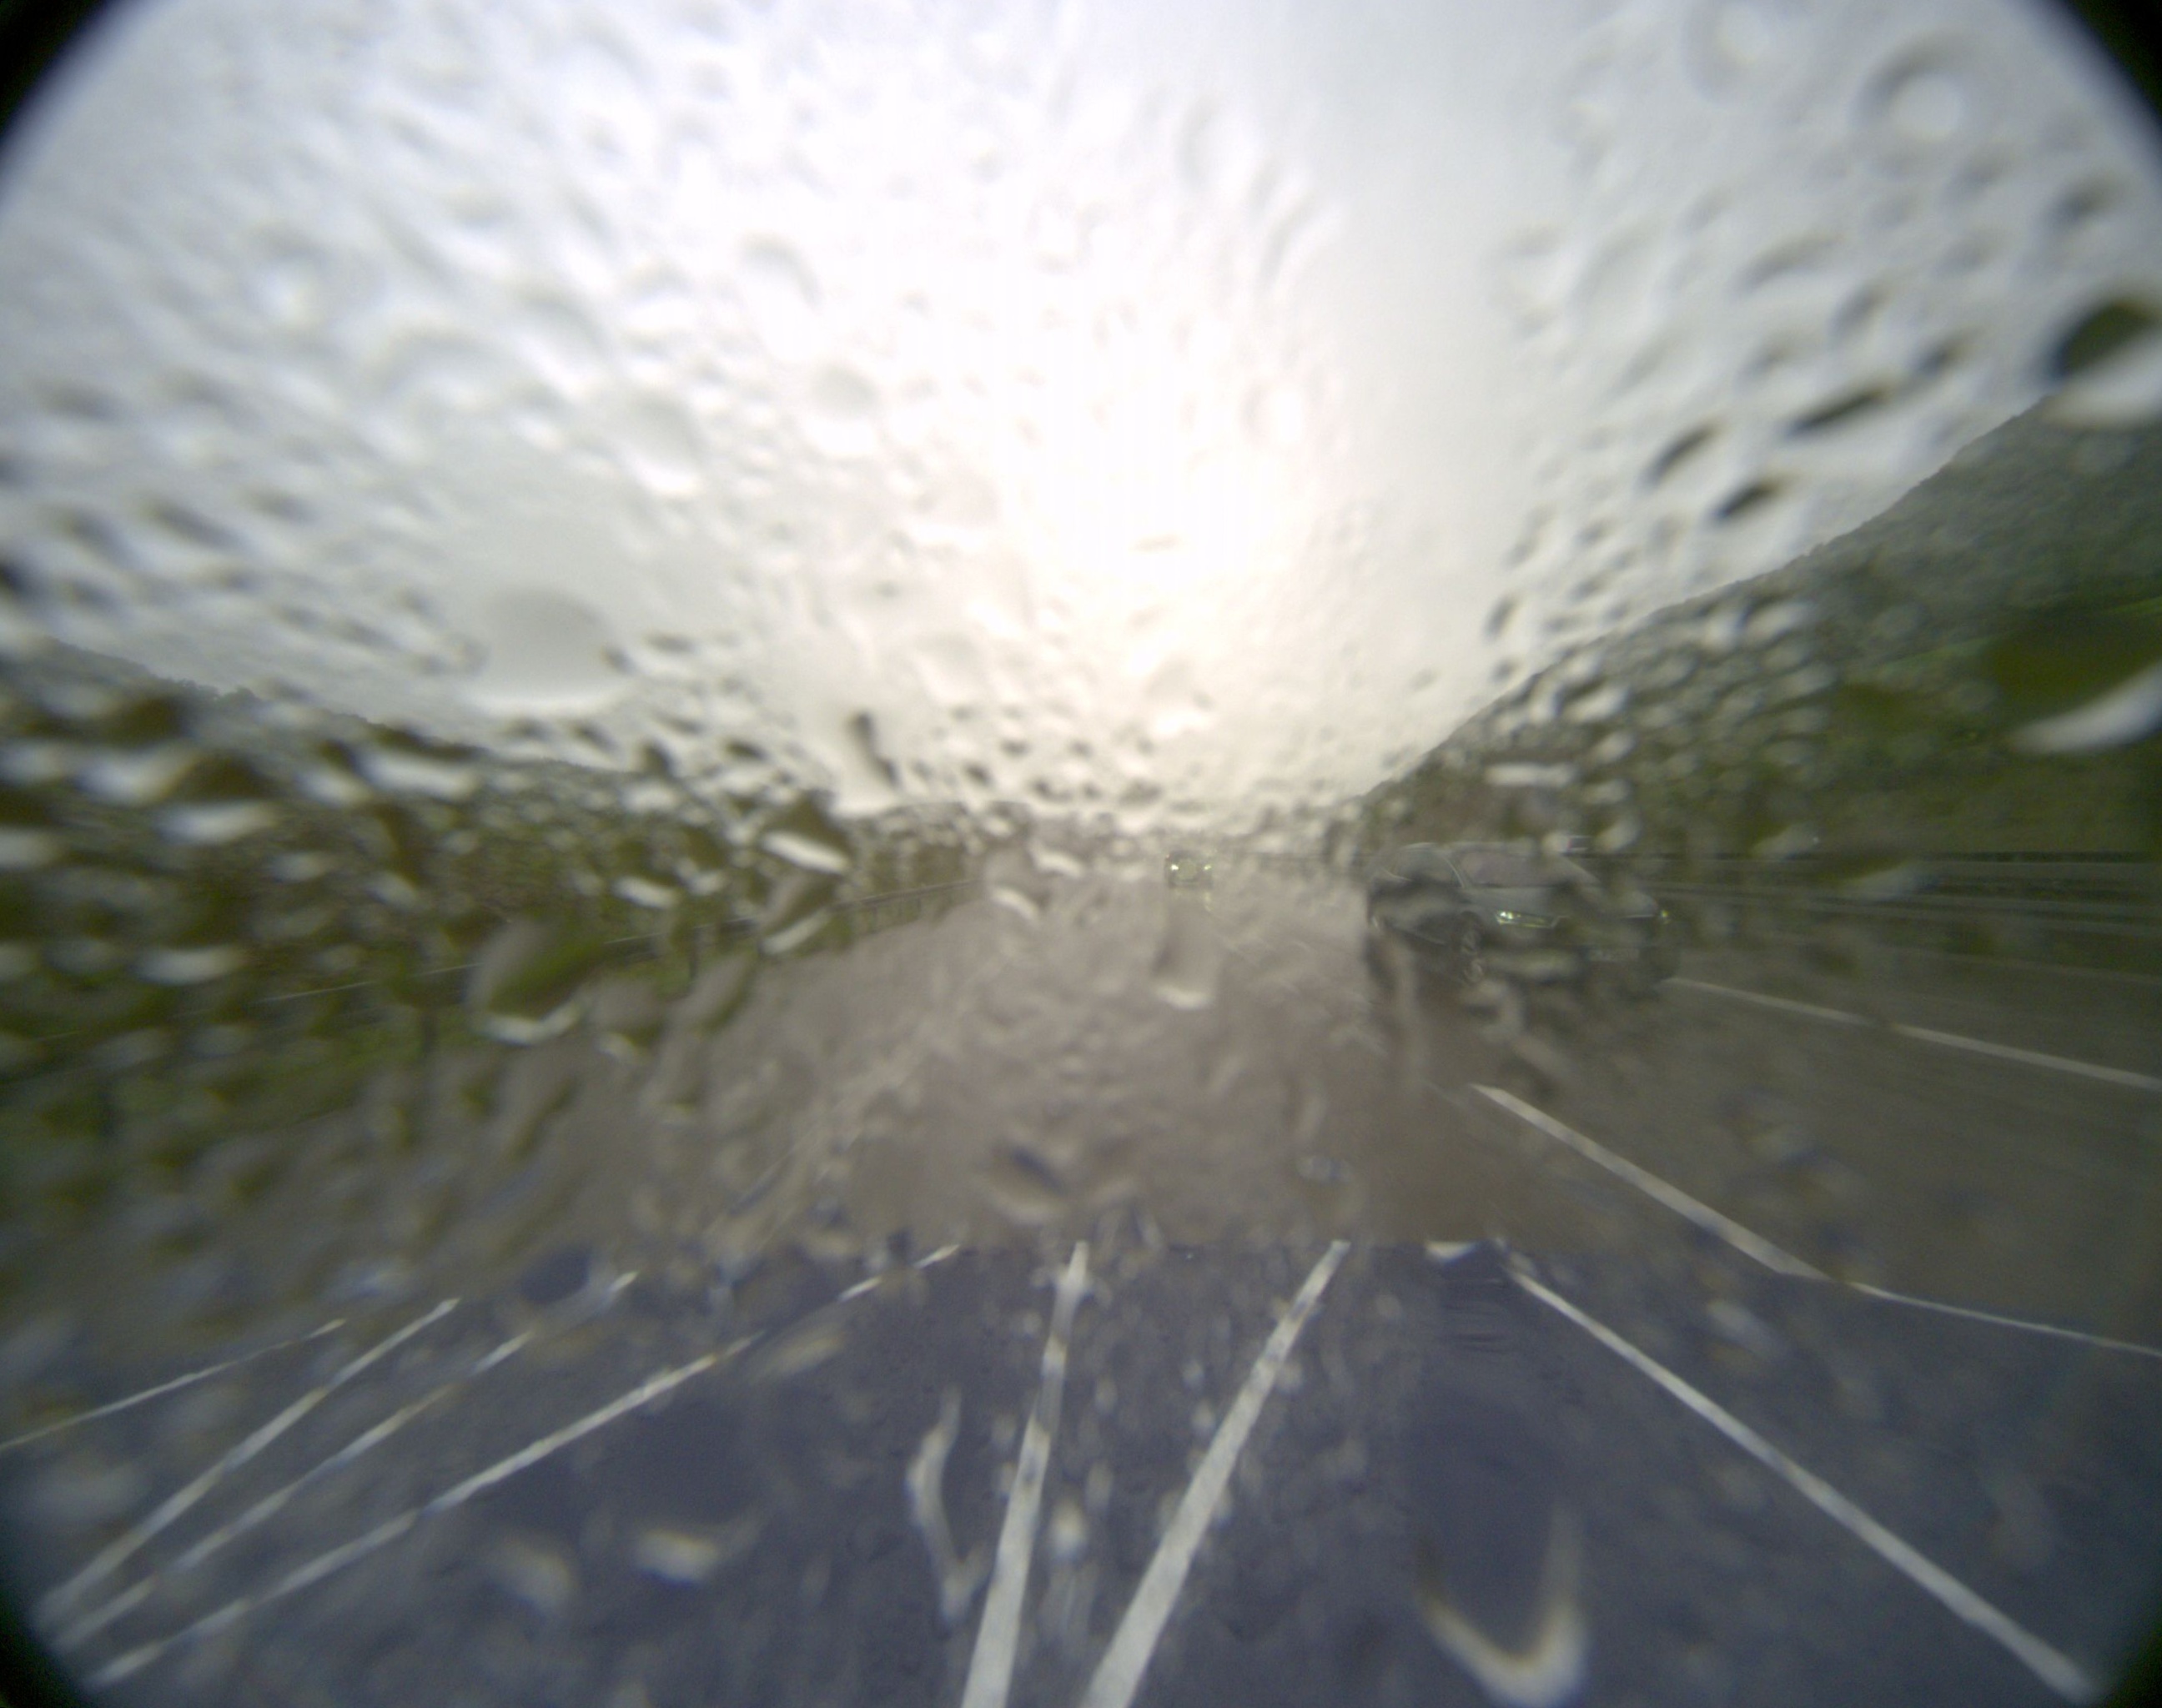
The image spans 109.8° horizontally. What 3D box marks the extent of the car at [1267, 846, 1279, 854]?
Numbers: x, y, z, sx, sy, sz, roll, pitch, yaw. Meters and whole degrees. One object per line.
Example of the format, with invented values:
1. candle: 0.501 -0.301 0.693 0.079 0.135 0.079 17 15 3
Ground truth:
1. car: 37.447 -0.837 148.527 1.797 1.412 3.777 -2 0 7

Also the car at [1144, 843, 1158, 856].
1. car: 11.360 -0.668 123.355 1.998 2.001 4.001 -2 -1 2

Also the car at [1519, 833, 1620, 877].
1. car: 20.757 0.032 32.505 1.780 1.682 4.000 -2 0 2

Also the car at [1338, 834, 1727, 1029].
1. car: 4.828 0.656 9.190 1.998 1.673 4.909 -2 1 4

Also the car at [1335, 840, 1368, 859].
1. car: 24.374 -0.429 68.475 1.711 1.638 4.001 -2 1 4

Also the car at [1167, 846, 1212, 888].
1. car: 4.919 0.540 34.873 1.814 1.692 3.750 -3 1 6

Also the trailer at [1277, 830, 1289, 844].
1. trailer: 57.396 -4.850 216.304 2.817 3.660 13.257 -2 1 13

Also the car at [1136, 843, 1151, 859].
1. car: 8.555 -0.394 104.660 1.835 2.002 3.939 -4 1 3
